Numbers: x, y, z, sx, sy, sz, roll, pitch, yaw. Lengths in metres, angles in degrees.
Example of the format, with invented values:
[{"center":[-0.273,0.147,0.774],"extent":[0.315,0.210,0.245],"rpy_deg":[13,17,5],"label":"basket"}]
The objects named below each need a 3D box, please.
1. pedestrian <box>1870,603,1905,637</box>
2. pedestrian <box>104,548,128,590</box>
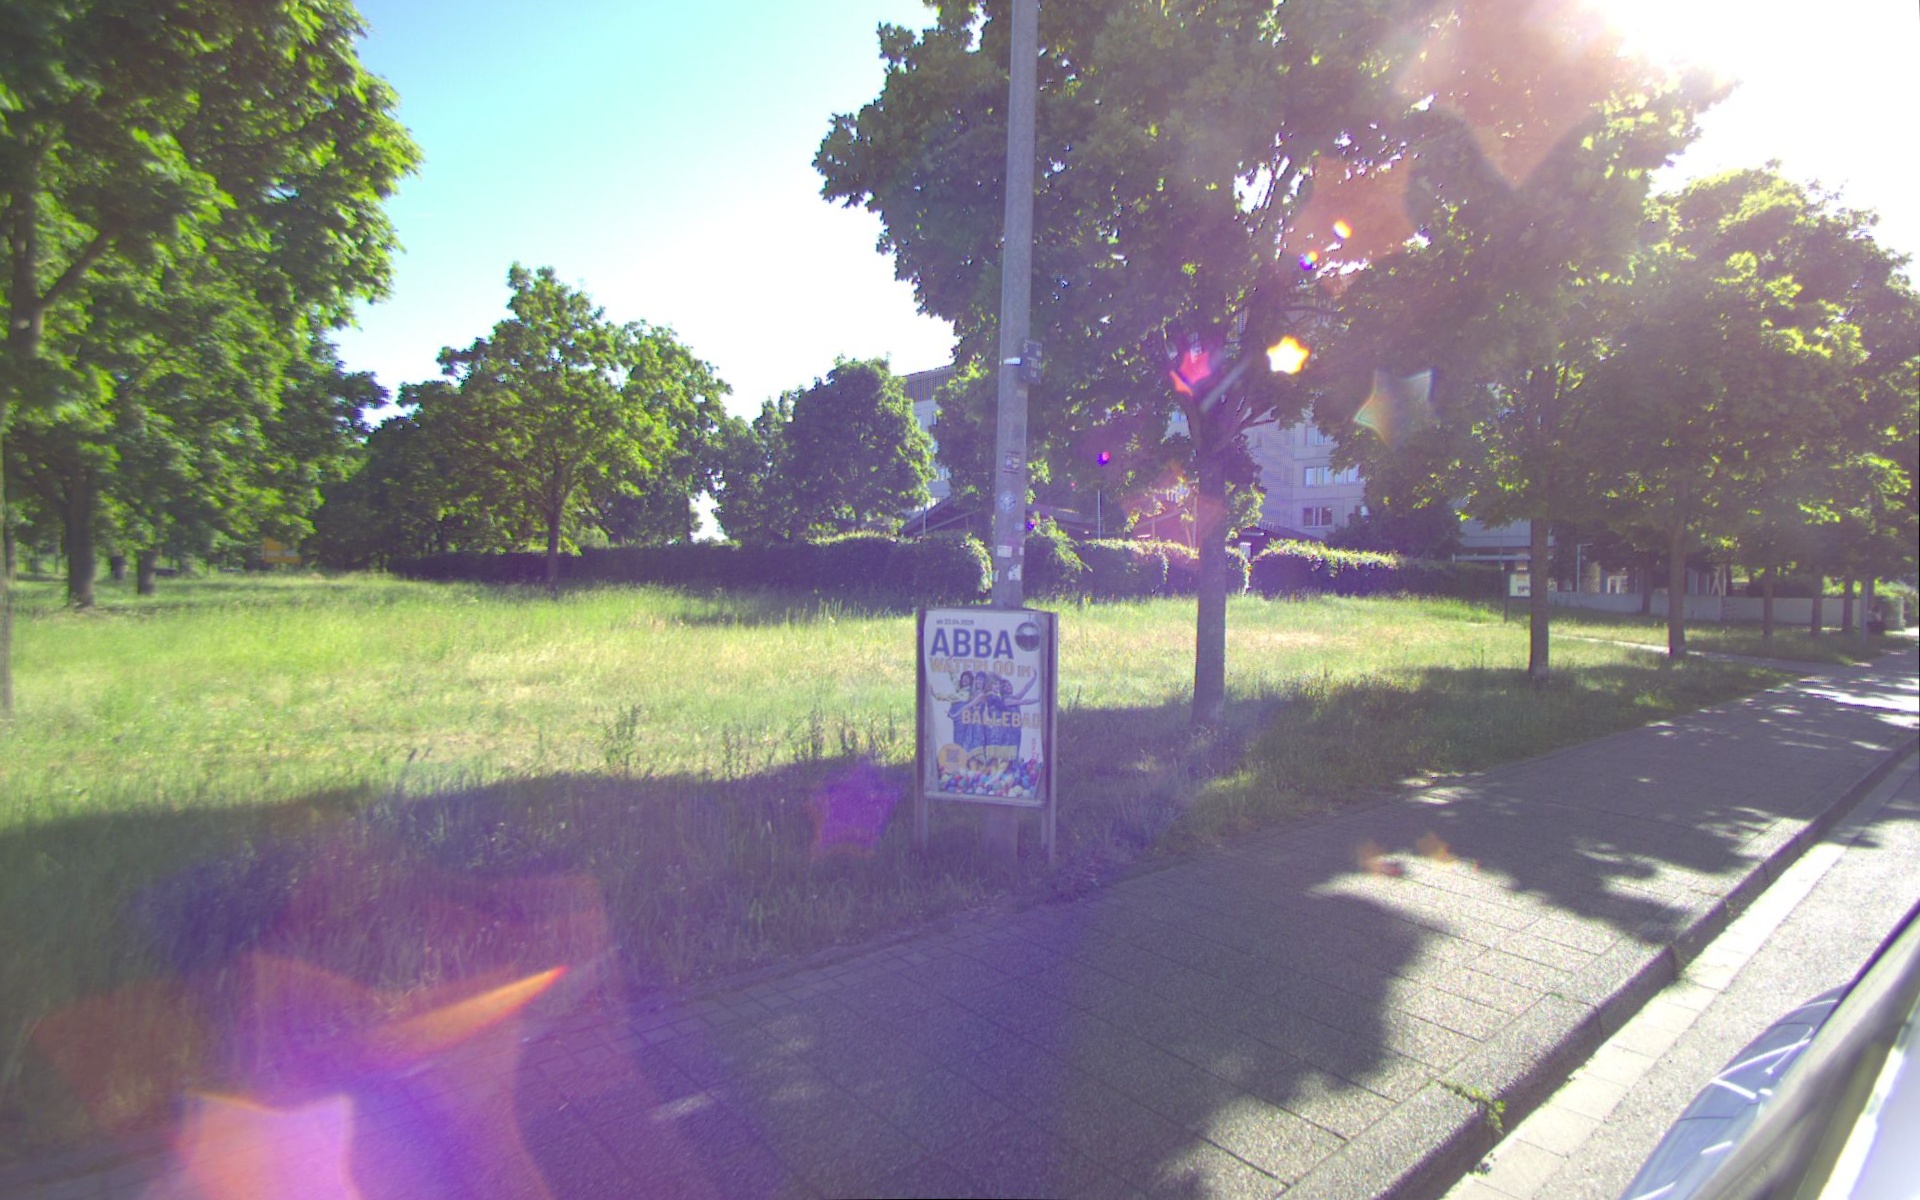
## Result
[{"center":[35.097,0.748,38.303],"extent":[0.842,1.232,0.719],"rpy_deg":[3,2,36],"label":"pedestrian"},{"center":[-35.941,-1.305,43.083],"extent":[0.726,1.748,0.888],"rpy_deg":[1,1,-38],"label":"pedestrian"}]
